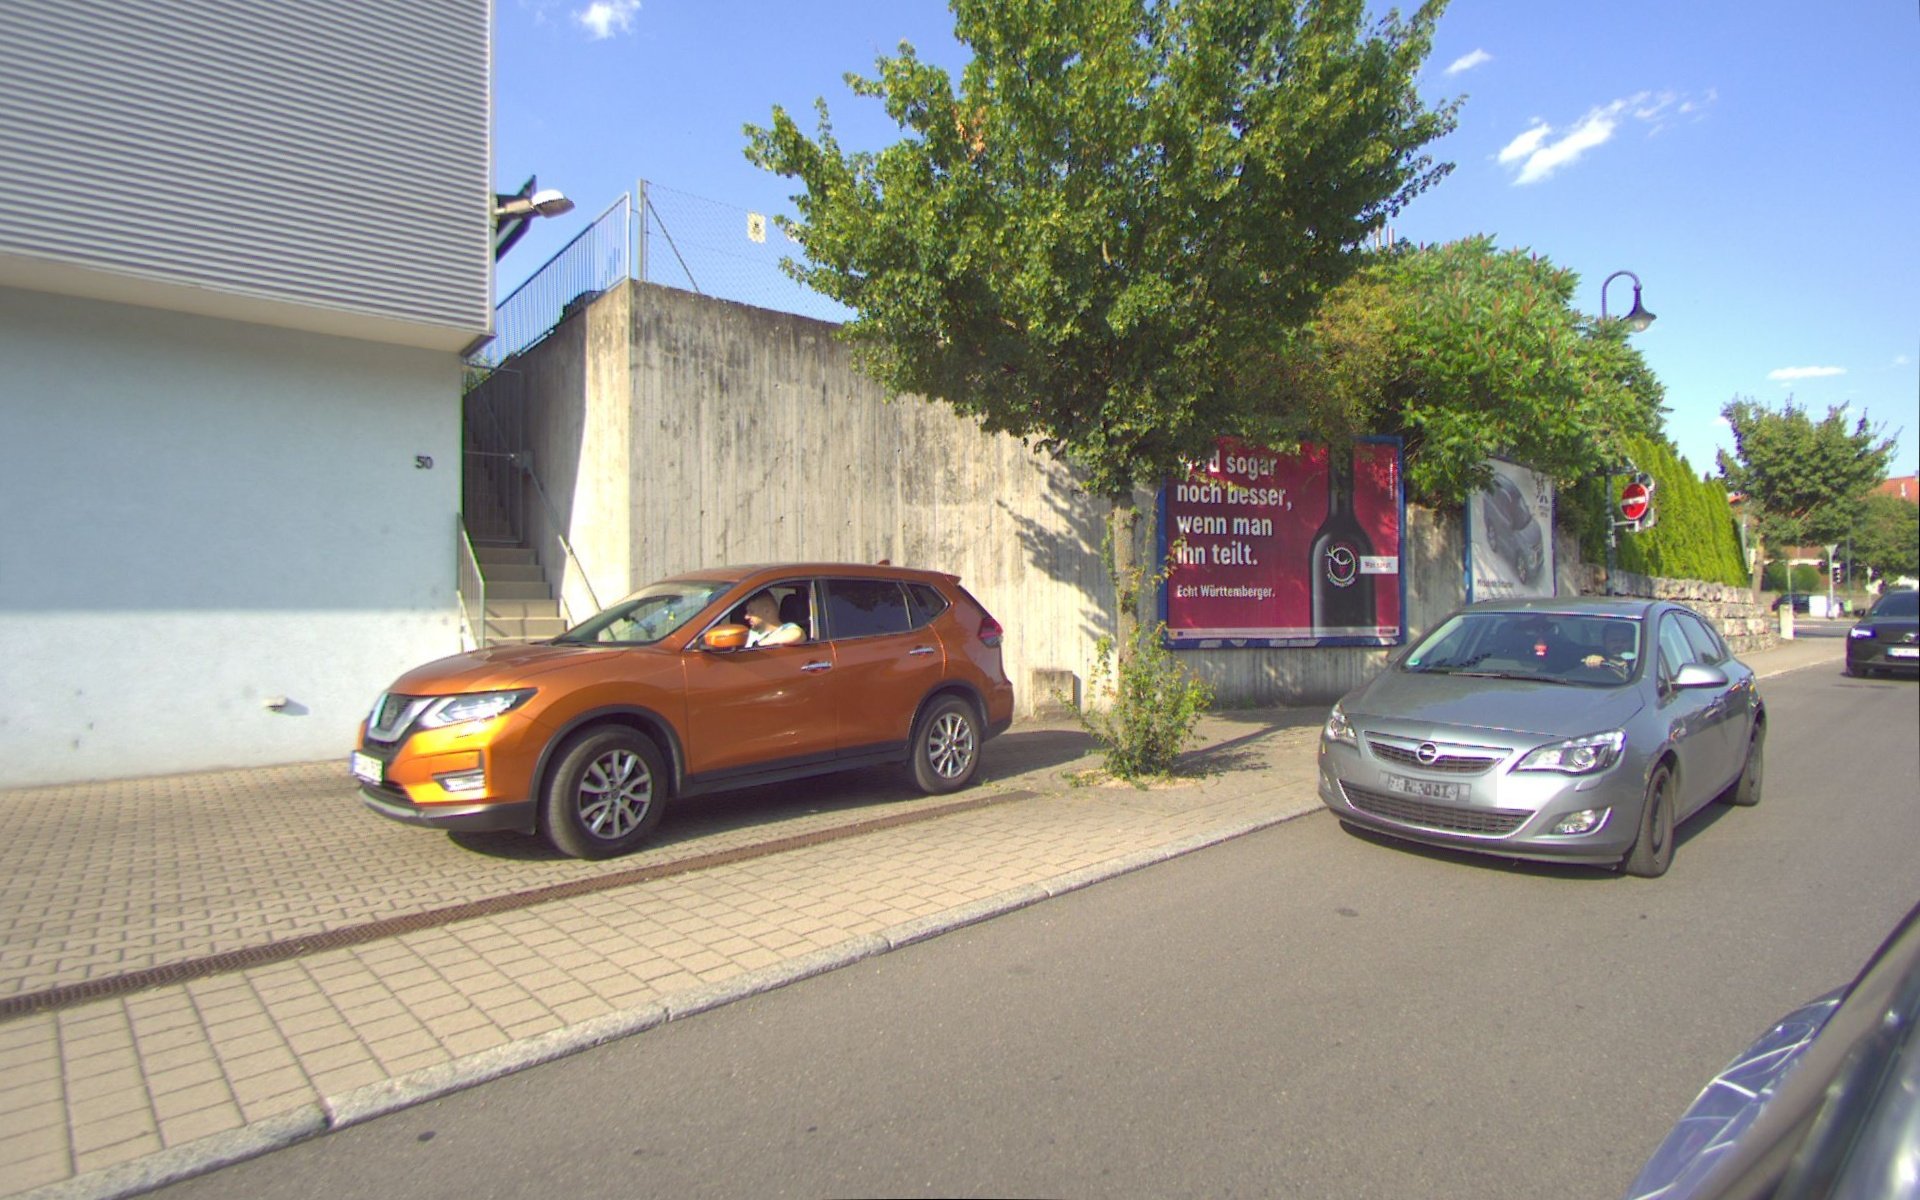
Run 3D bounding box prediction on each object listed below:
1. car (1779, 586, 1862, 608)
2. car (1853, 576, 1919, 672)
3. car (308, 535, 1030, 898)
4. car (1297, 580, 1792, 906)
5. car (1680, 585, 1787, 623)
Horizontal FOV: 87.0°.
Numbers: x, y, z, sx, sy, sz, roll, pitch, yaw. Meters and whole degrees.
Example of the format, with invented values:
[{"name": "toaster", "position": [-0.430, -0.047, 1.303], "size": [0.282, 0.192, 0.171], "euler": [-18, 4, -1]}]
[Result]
[{"name": "car", "position": [59.256, -0.172, 69.767], "size": [1.644, 1.475, 4.086], "euler": [0, 0, -25]}, {"name": "car", "position": [17.876, 0.420, 18.377], "size": [3.981, 1.626, 1.792], "euler": [1, 0, -38]}, {"name": "car", "position": [-1.637, 0.526, 6.928], "size": [1.834, 1.670, 4.467], "euler": [0, 0, 43]}, {"name": "car", "position": [3.967, 0.637, 6.538], "size": [4.074, 1.440, 1.649], "euler": [0, 1, -43]}, {"name": "car", "position": [37.343, 0.166, 48.943], "size": [1.569, 1.560, 3.798], "euler": [0, 4, -38]}]
